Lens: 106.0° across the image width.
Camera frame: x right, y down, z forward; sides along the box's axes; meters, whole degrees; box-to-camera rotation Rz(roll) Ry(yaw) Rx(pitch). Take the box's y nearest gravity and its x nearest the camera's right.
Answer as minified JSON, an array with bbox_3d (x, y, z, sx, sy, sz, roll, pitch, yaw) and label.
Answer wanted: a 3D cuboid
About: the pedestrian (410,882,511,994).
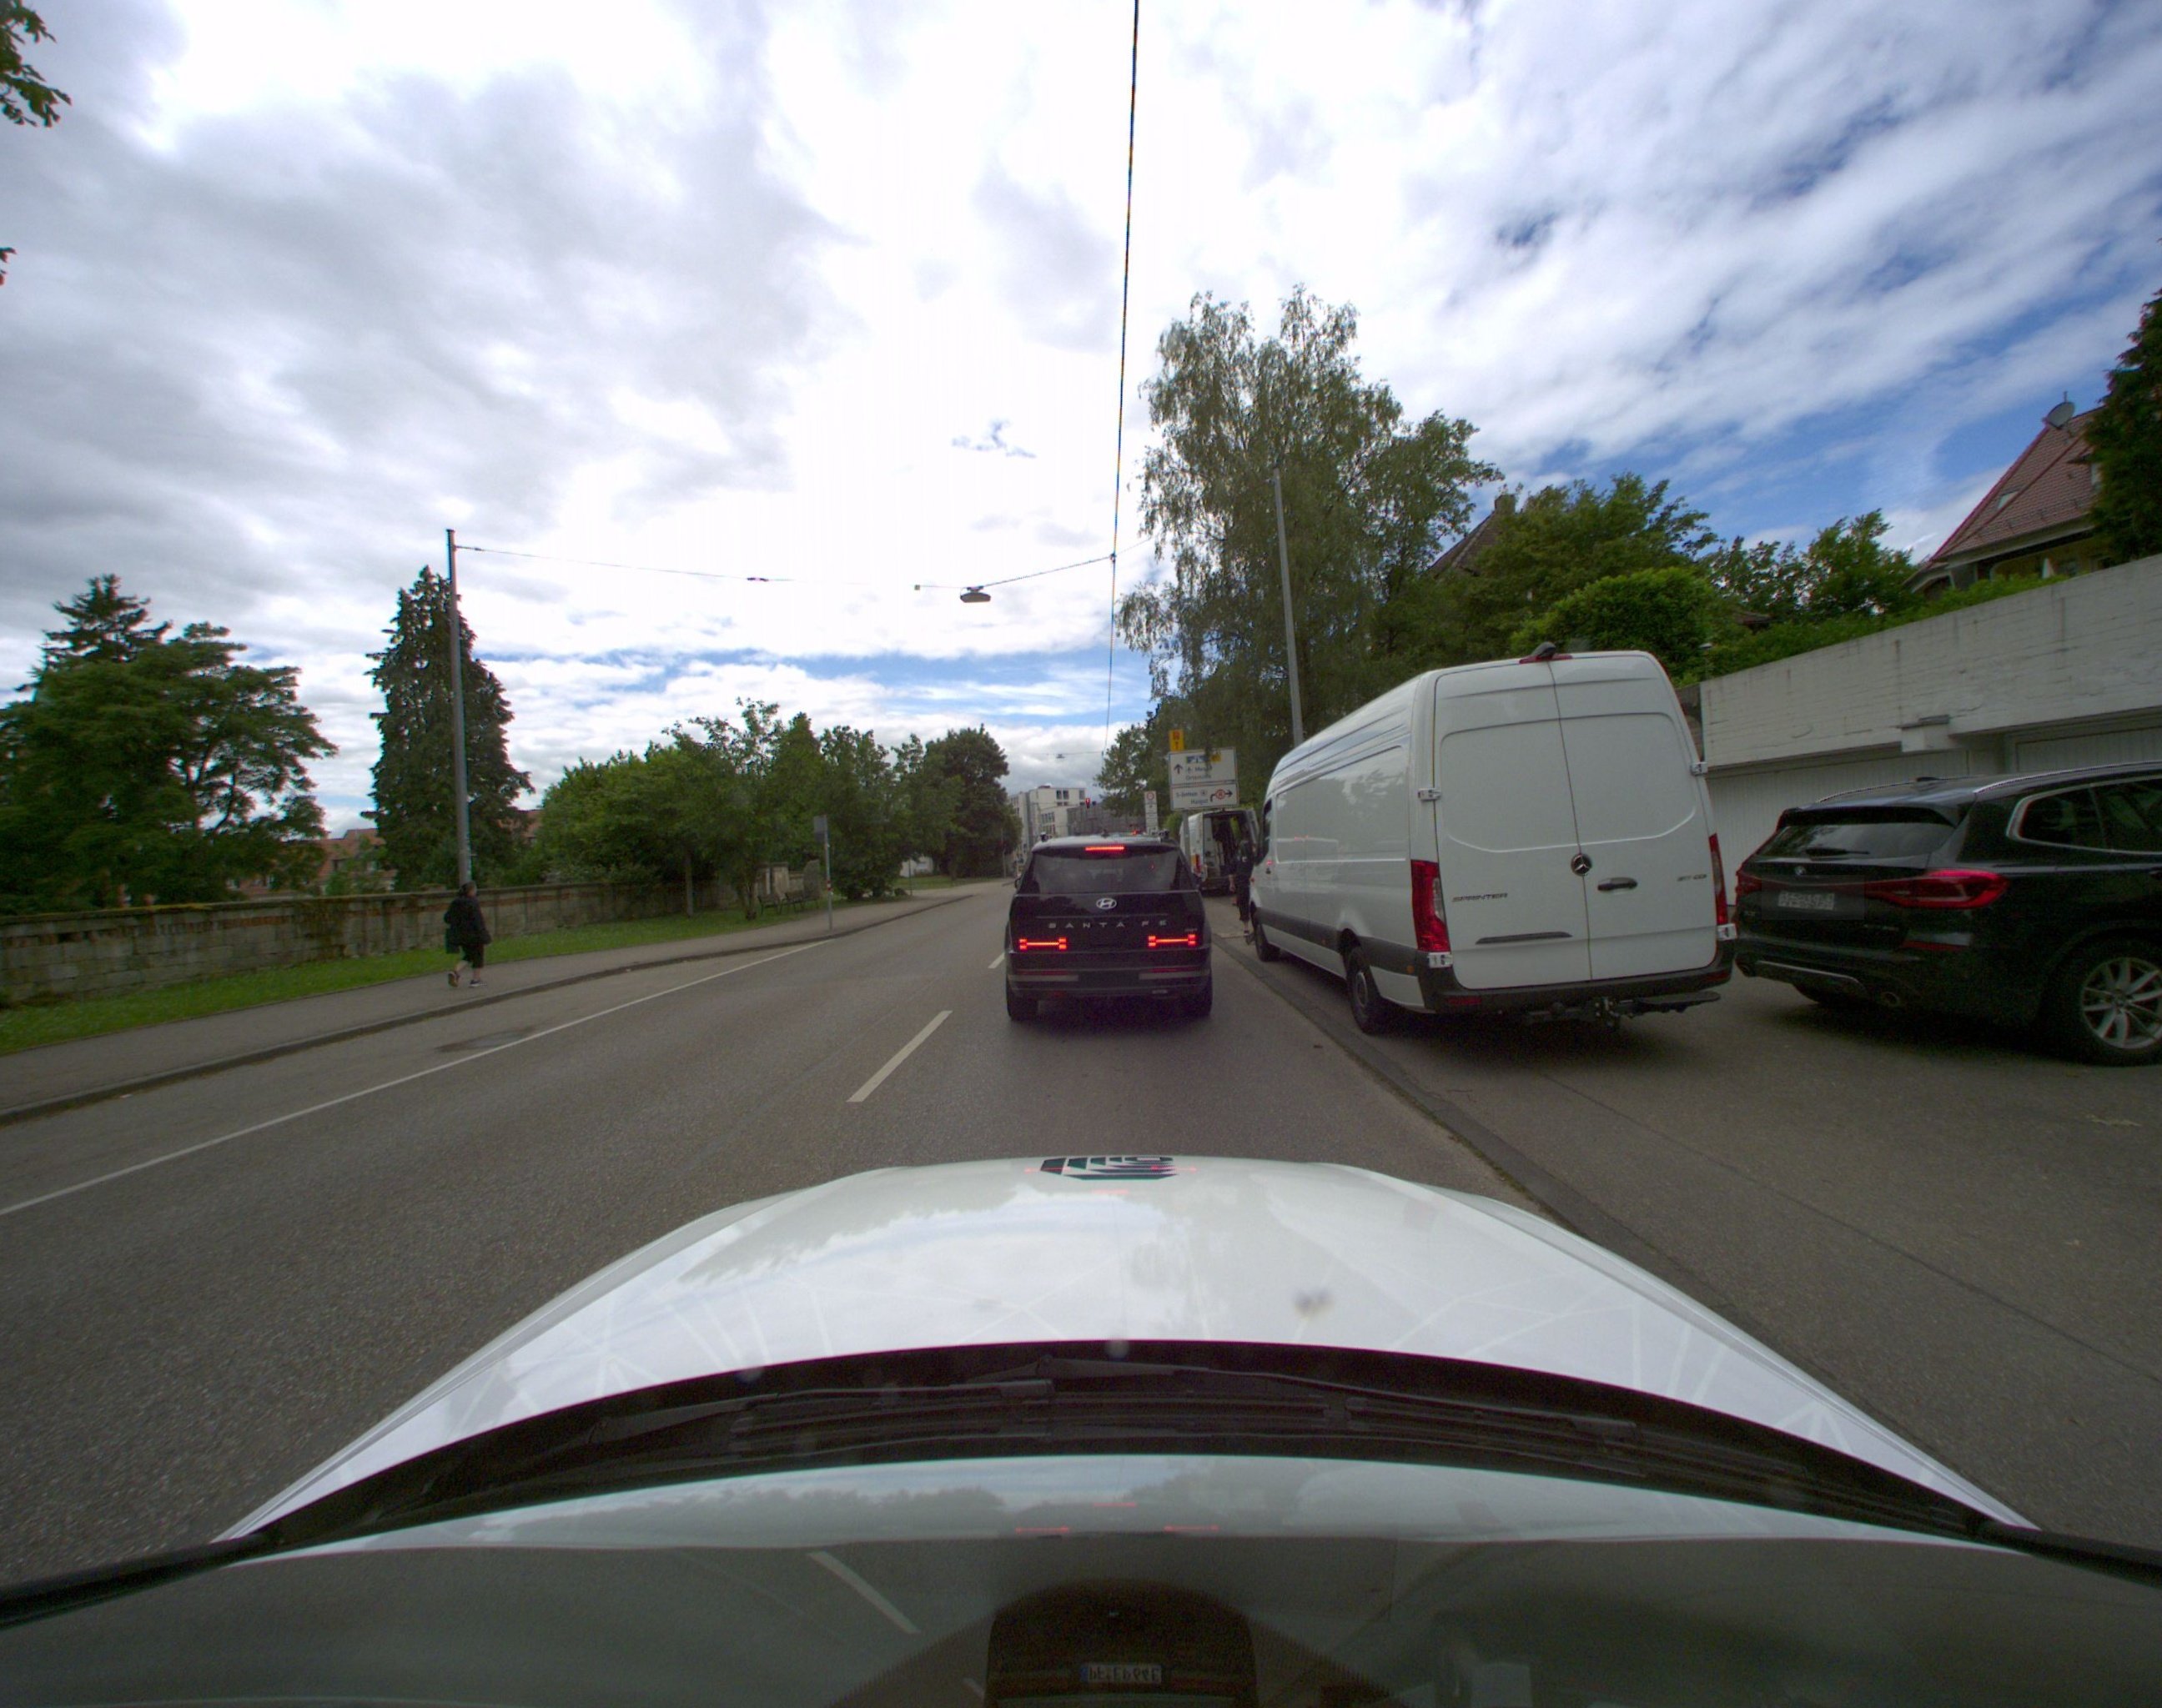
[{"bbox_3d":[-9.417,1.241,12.400,0.746,1.578,0.967,-2,0,1],"label":"pedestrian"}]

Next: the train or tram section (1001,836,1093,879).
[{"bbox_3d":[-4.558,0.589,99.546,3.212,4.523,18.507,-1,-2,-29],"label":"train or tram section"}]

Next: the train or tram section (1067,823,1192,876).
[{"bbox_3d":[4.419,-0.223,83.303,3.212,4.523,18.505,-1,-2,-29],"label":"train or tram section"}]

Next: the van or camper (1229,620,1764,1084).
[{"bbox_3d":[3.090,-0.011,8.106,1.957,2.627,6.359,-5,0,1],"label":"van or camper"}]

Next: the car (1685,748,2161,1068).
[{"bbox_3d":[6.845,0.187,5.278,4.376,1.652,1.831,-4,0,2],"label":"car"}]

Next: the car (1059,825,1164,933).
[{"bbox_3d":[0.620,0.480,17.648,1.957,2.001,4.001,-2,0,1],"label":"car"}]

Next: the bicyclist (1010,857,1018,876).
[{"bbox_3d":[-5.778,1.095,70.219,0.674,1.659,0.857,-2,-2,-5],"label":"bicyclist"}]

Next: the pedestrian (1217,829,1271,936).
[{"bbox_3d":[2.747,0.475,13.722,0.597,1.743,0.623,-3,-1,38],"label":"pedestrian"}]

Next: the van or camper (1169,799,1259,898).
[{"bbox_3d":[4.244,-0.166,26.921,1.957,2.797,5.288,-5,0,1],"label":"van or camper"}]

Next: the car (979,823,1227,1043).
[{"bbox_3d":[0.216,0.645,8.622,1.957,1.711,4.001,-2,0,1],"label":"car"}]

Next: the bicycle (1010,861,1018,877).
[{"bbox_3d":[-5.776,1.296,70.182,0.674,1.279,2.496,-2,-2,-5],"label":"bicycle"}]
